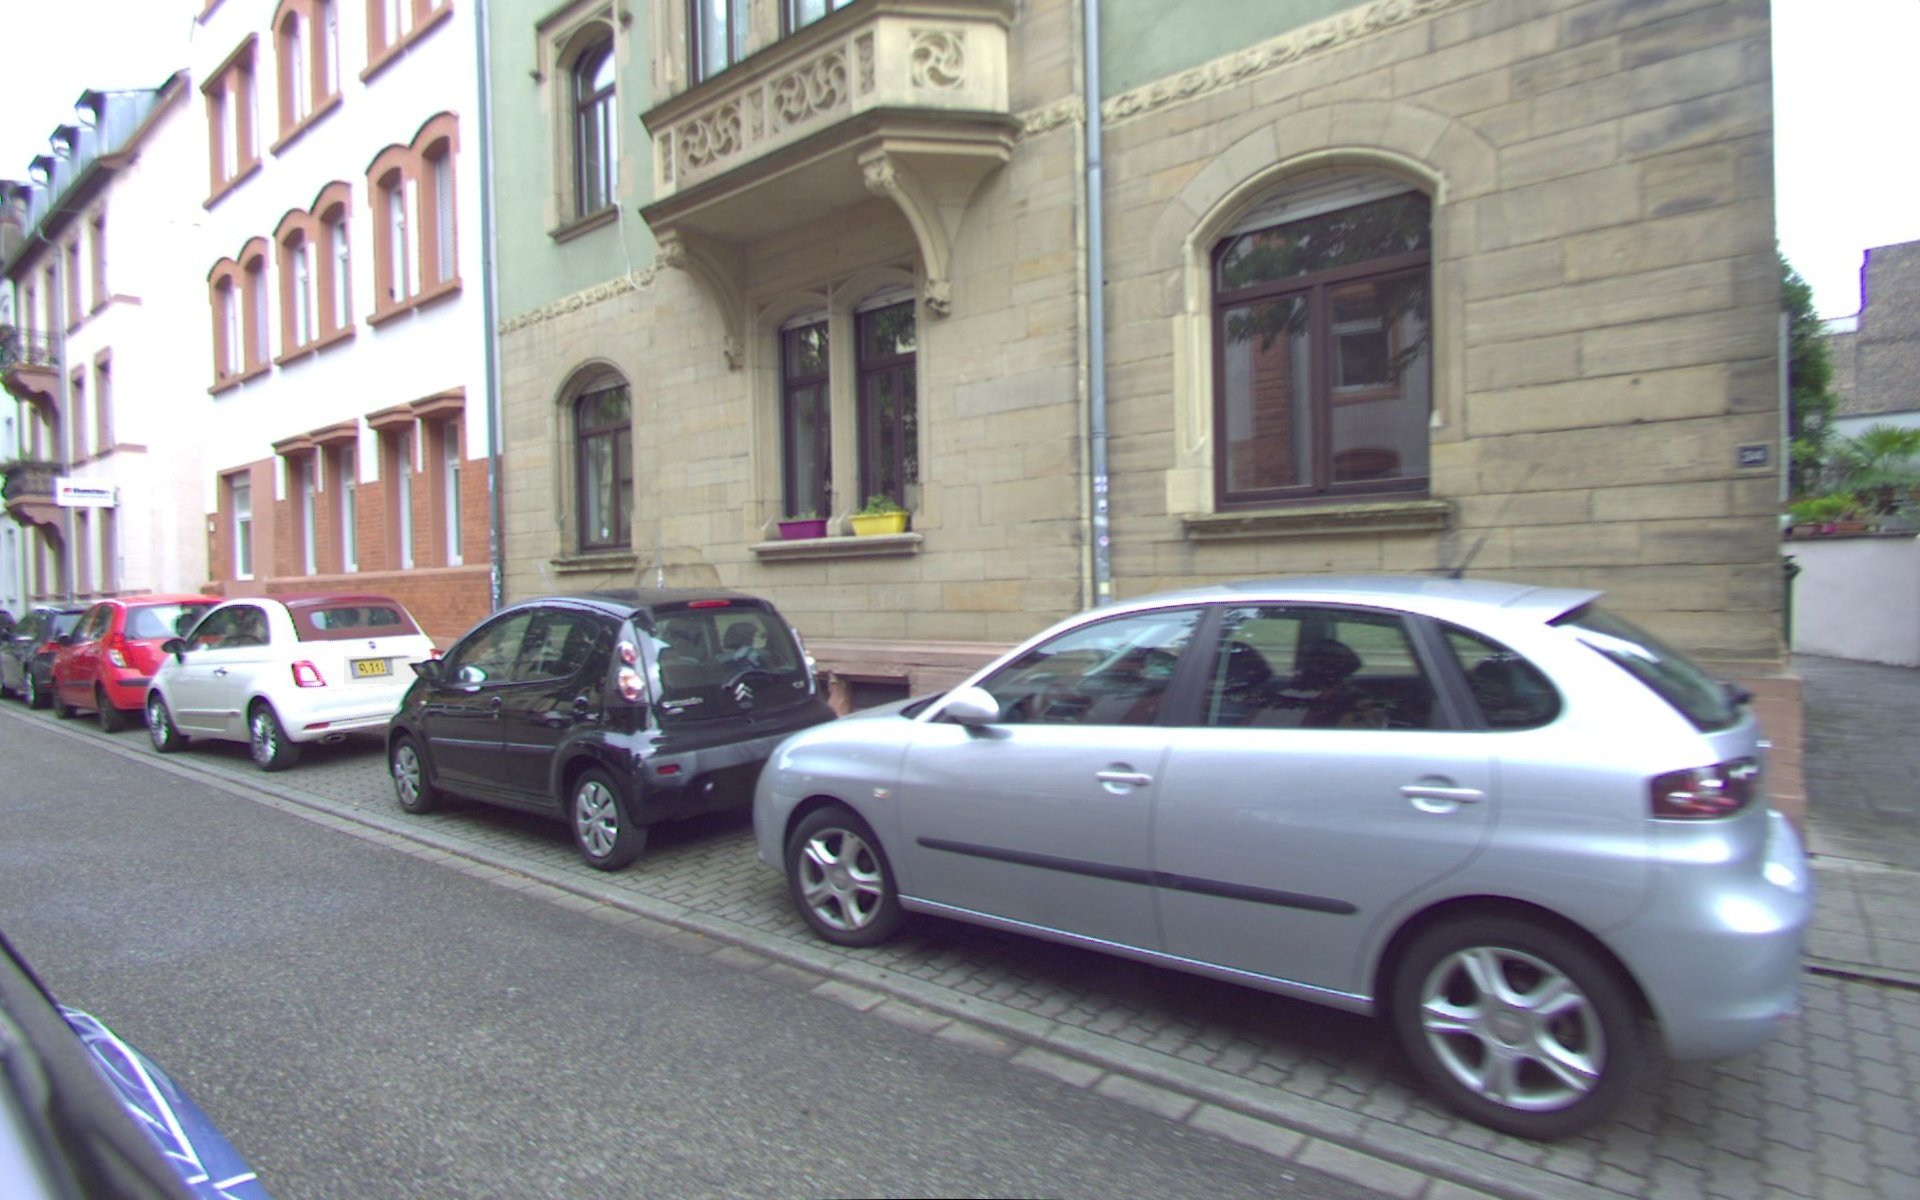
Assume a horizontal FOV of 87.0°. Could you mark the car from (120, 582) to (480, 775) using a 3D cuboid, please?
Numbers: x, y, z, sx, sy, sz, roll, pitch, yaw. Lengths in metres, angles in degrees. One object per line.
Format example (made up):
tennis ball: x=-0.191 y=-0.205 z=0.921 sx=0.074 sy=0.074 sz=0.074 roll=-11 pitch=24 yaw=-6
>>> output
car: x=-6.434 y=0.643 z=9.779 sx=3.545 sy=1.522 sz=1.652 roll=-1 pitch=1 yaw=34

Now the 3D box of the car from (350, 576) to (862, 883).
car: x=-2.420 y=0.646 z=6.571 sx=3.452 sy=1.444 sz=1.502 roll=-1 pitch=2 yaw=39

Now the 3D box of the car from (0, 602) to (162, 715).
car: x=-13.578 y=0.819 z=15.322 sx=3.913 sy=1.427 sz=1.451 roll=-1 pitch=2 yaw=39

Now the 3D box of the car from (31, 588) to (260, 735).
car: x=-10.269 y=0.695 z=12.681 sx=3.564 sy=1.541 sz=1.451 roll=-1 pitch=2 yaw=39

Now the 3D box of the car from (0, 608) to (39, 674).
car: x=-22.741 y=0.947 z=23.117 sx=3.995 sy=1.401 sz=1.881 roll=-1 pitch=1 yaw=39

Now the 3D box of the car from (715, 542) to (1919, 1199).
car: x=0.951 y=0.609 z=3.823 sx=3.804 sy=1.444 sz=1.575 roll=-1 pitch=2 yaw=38
